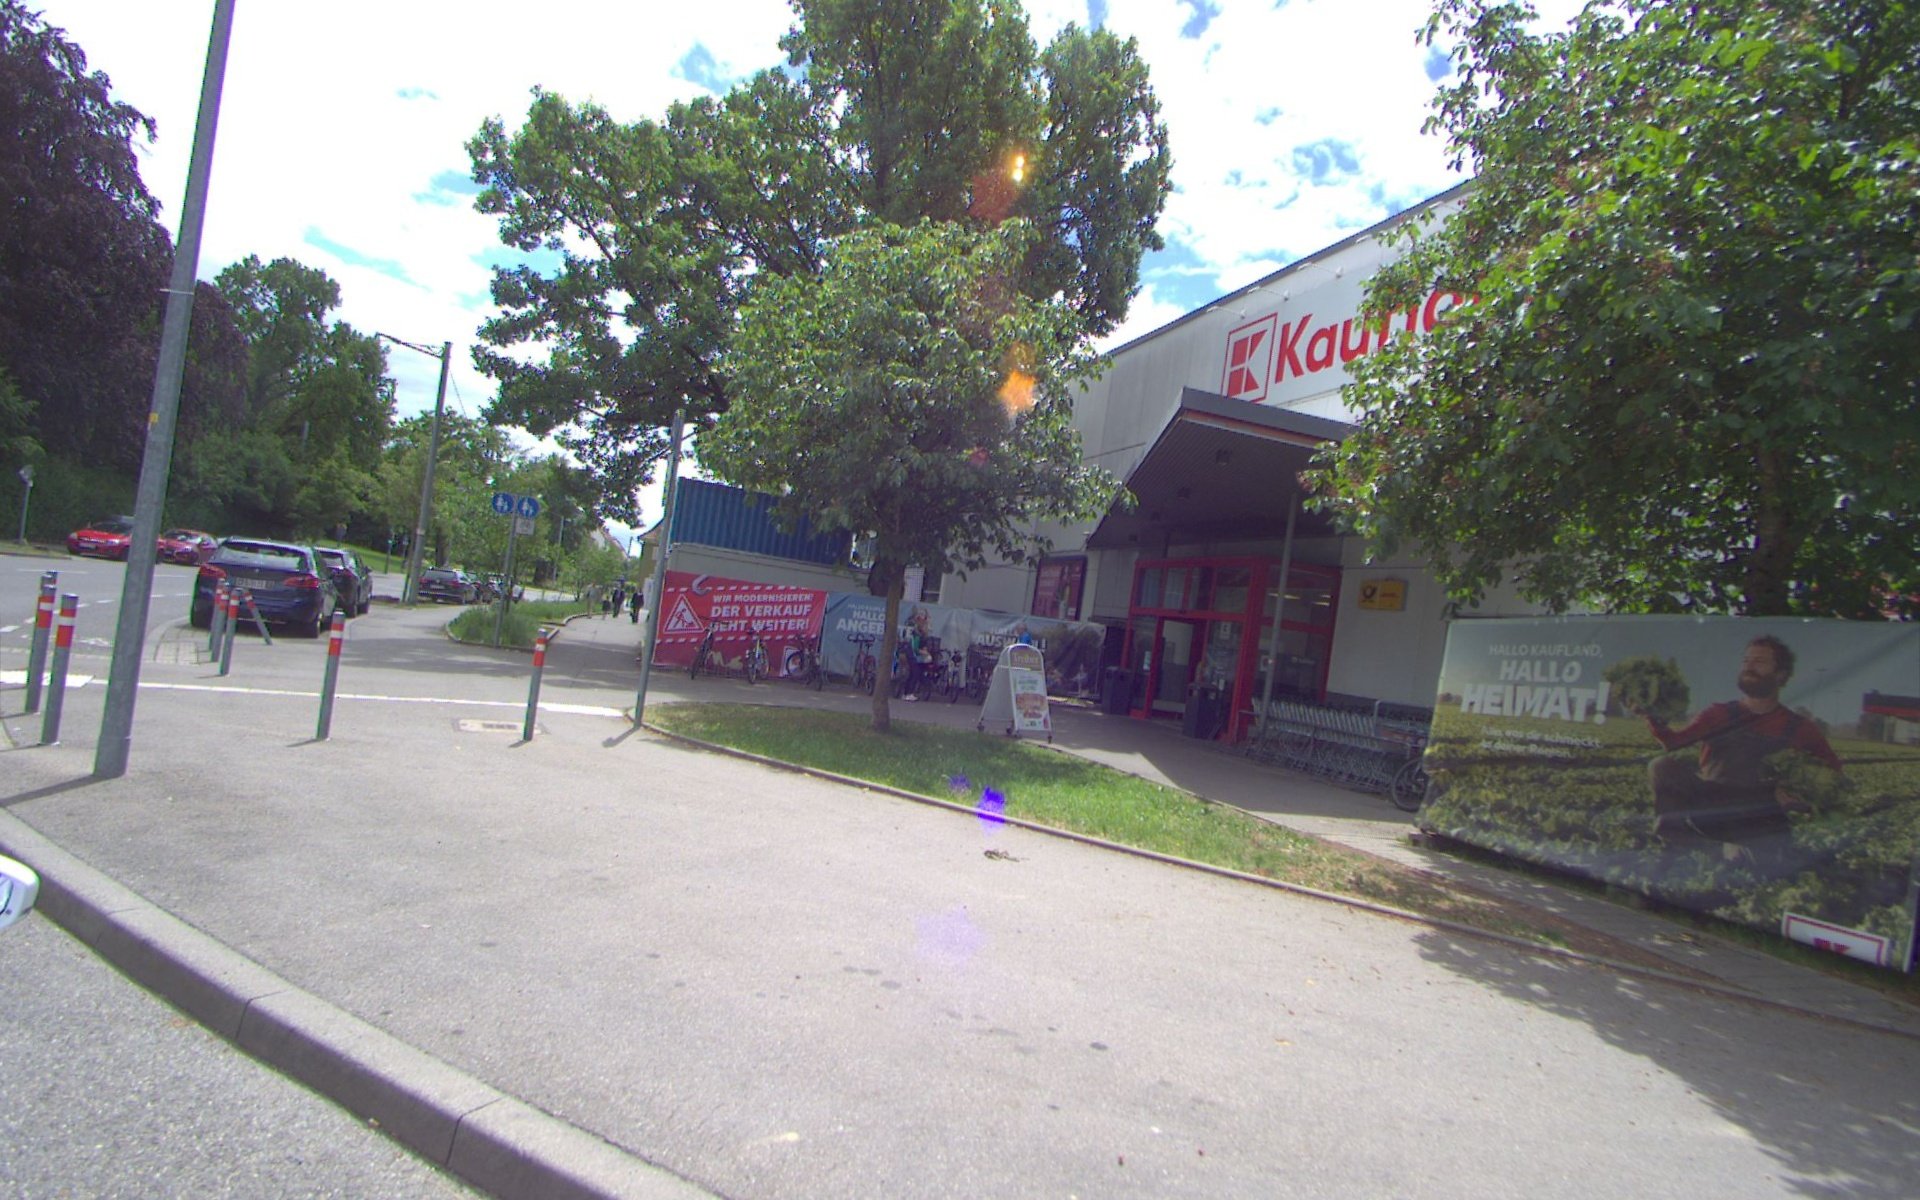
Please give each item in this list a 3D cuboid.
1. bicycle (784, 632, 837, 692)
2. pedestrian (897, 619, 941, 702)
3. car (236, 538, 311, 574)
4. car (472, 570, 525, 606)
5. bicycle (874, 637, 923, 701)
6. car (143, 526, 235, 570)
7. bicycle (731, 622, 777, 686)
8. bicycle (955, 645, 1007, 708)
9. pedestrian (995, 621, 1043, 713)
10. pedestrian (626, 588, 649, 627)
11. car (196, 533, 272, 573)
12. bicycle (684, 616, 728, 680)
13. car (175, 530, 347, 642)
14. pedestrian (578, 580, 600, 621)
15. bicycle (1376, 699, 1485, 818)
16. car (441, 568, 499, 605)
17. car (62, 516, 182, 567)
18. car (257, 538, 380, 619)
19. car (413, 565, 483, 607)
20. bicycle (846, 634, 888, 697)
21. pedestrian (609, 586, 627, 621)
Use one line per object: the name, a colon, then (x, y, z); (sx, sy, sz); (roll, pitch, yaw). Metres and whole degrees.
bicycle: (-3.074, 1.251, 20.610); (0.514, 1.053, 1.792); (8, -2, -23)
pedestrian: (-0.832, 1.216, 20.342); (0.617, 1.585, 0.494); (7, -1, -16)
car: (-35.989, -2.258, 52.860); (1.676, 1.380, 4.673); (10, -3, -16)
car: (-24.371, -0.610, 53.220); (1.715, 1.635, 4.375); (6, -2, -15)
bicycle: (-1.307, 1.418, 21.091); (0.433, 1.168, 1.761); (9, -2, -18)
car: (-33.643, -2.227, 44.013); (1.631, 1.466, 4.093); (10, -3, -16)
bicycle: (-4.152, 1.079, 20.387); (0.492, 1.168, 1.774); (8, -2, -2)
bicycle: (0.428, 1.627, 21.779); (0.522, 1.168, 1.909); (9, -2, -13)
pedestrian: (1.194, 1.358, 20.516); (0.615, 1.778, 0.746); (6, -1, -15)
pedestrian: (-14.547, 0.325, 45.373); (0.734, 1.636, 0.765); (8, -1, -18)
car: (-35.063, -2.225, 48.659); (1.577, 1.466, 3.588); (10, -3, -14)
bicycle: (-5.007, 0.934, 19.929); (0.443, 1.168, 1.790); (8, -2, -6)
car: (-12.467, -0.261, 18.242); (1.901, 1.596, 4.400); (7, -2, -28)
pedestrian: (-16.533, 0.028, 44.822); (0.644, 1.715, 0.721); (8, -1, -23)
bicycle: (5.781, 1.933, 12.306); (0.704, 1.248, 1.768); (7, -3, 38)
car: (-23.184, -0.599, 47.727); (1.549, 1.510, 3.990); (7, -2, -15)
car: (-32.273, -2.210, 38.901); (1.641, 1.393, 4.554); (10, -3, -15)
car: (-16.067, -0.536, 25.444); (1.862, 1.640, 4.818); (7, -2, -25)
car: (-21.763, -0.571, 42.920); (1.743, 1.495, 4.920); (6, -2, -17)
bicycle: (-1.949, 1.334, 20.918); (0.420, 1.168, 1.657); (9, -2, -16)
pedestrian: (-17.422, 0.181, 51.271); (0.644, 1.716, 0.841); (8, -1, -18)
